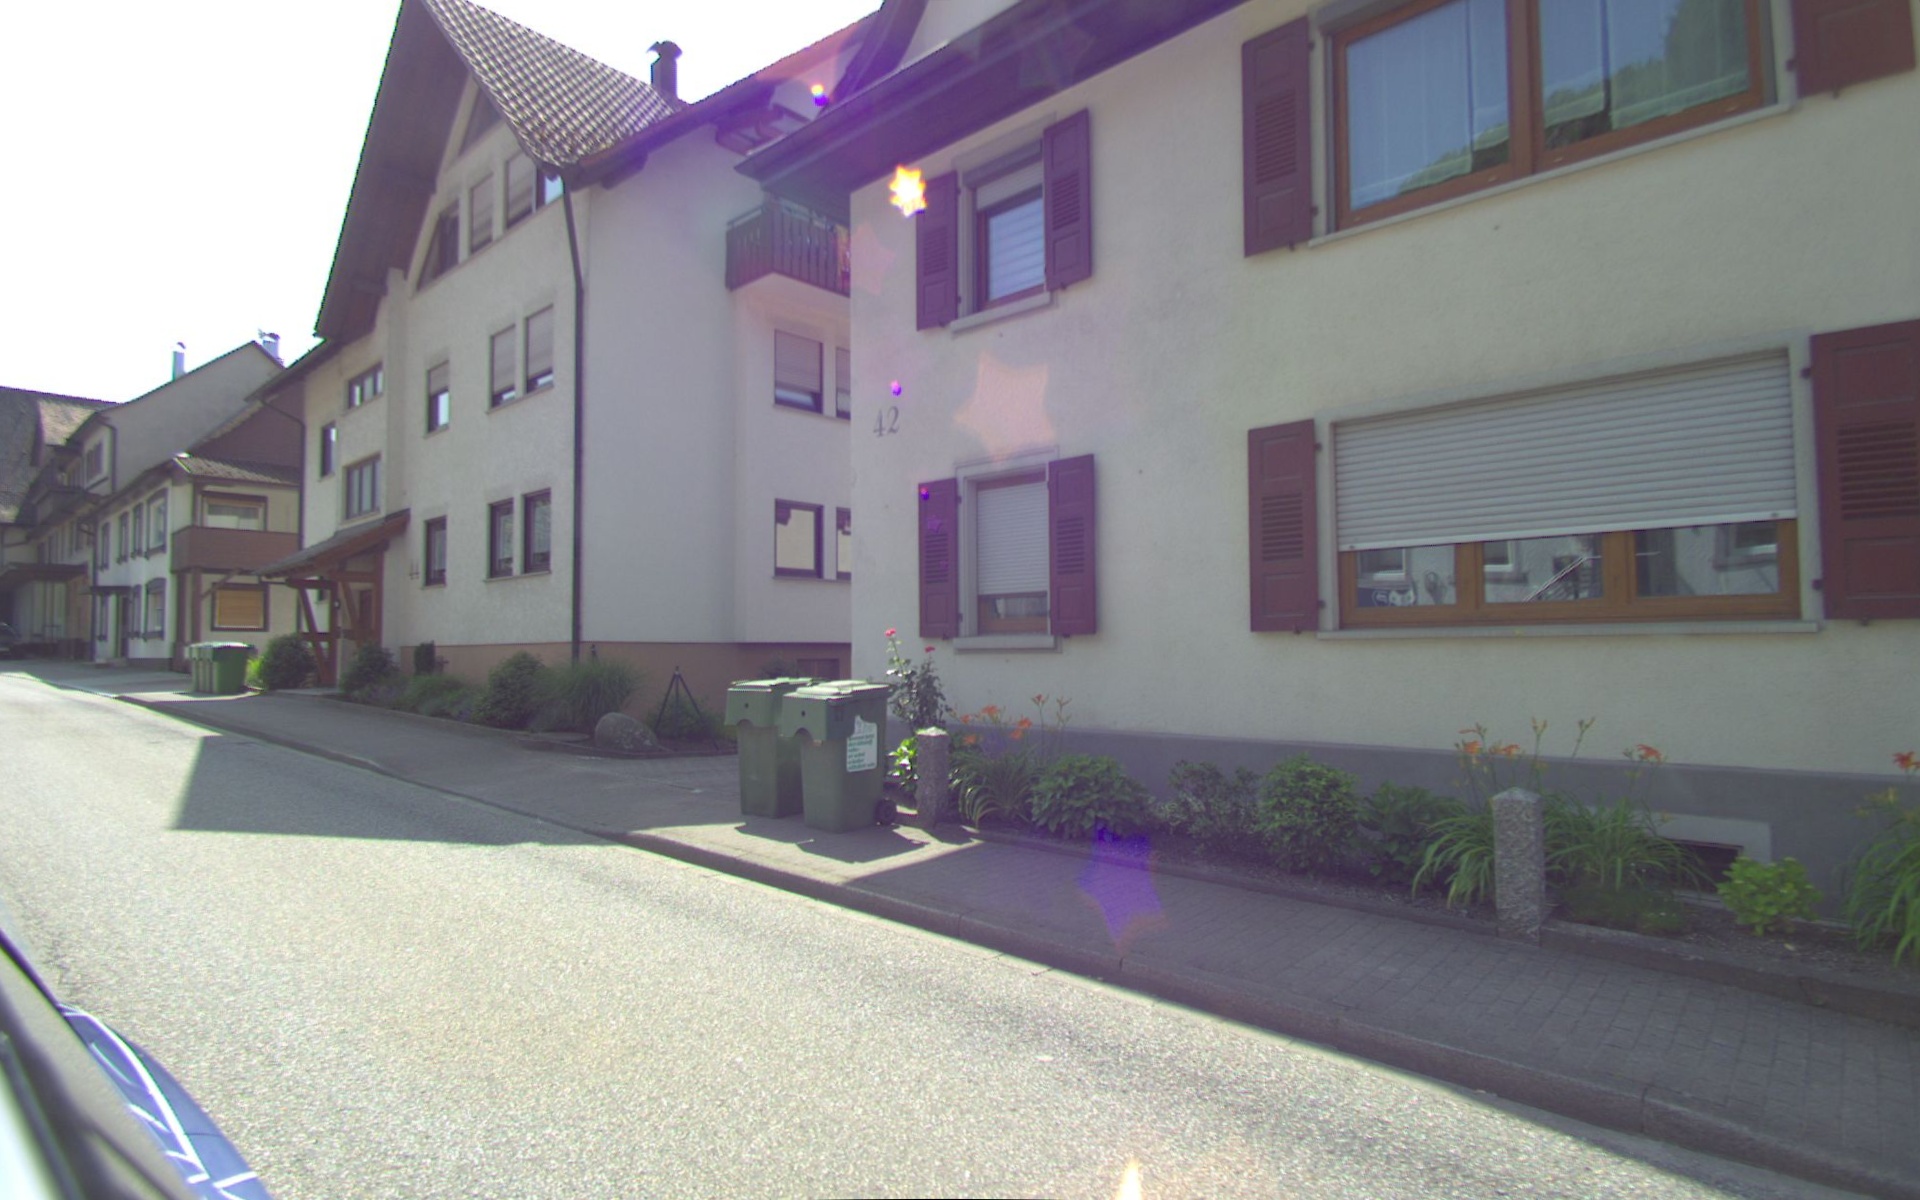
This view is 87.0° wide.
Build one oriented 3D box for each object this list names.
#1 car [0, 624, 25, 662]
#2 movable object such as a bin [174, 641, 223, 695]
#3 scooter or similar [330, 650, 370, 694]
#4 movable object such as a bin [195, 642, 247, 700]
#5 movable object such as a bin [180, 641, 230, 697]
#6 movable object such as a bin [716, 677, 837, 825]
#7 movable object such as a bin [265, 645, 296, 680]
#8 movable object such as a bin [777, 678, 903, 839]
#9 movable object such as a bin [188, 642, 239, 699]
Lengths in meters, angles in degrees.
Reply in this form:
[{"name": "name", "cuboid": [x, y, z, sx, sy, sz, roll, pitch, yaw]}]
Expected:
[{"name": "car", "cuboid": [-40.691, 1.788, 42.301, 4.281, 1.565, 1.752, -1, -2, 39]}, {"name": "movable object such as a bin", "cuboid": [-17.022, 1.518, 22.634, 0.598, 1.190, 0.710, -2, -5, 42]}, {"name": "scooter or similar", "cuboid": [-11.840, 1.394, 19.635, 0.537, 0.832, 0.500, -3, -4, 41]}, {"name": "movable object such as a bin", "cuboid": [-15.561, 1.499, 21.315, 0.598, 1.190, 0.710, -2, -5, 42]}, {"name": "movable object such as a bin", "cuboid": [-16.542, 1.511, 22.182, 0.598, 1.190, 0.710, -2, -5, 42]}, {"name": "movable object such as a bin", "cuboid": [-1.460, 1.167, 8.056, 0.653, 1.075, 0.669, -1, -3, 40]}, {"name": "movable object such as a bin", "cuboid": [-20.728, 1.902, 30.871, 0.632, 1.059, 0.600, -1, -5, 41]}, {"name": "movable object such as a bin", "cuboid": [-0.879, 1.135, 7.477, 0.621, 1.075, 0.669, -1, -3, 40]}, {"name": "movable object such as a bin", "cuboid": [-16.048, 1.505, 21.756, 0.598, 1.190, 0.710, -2, -5, 42]}]
